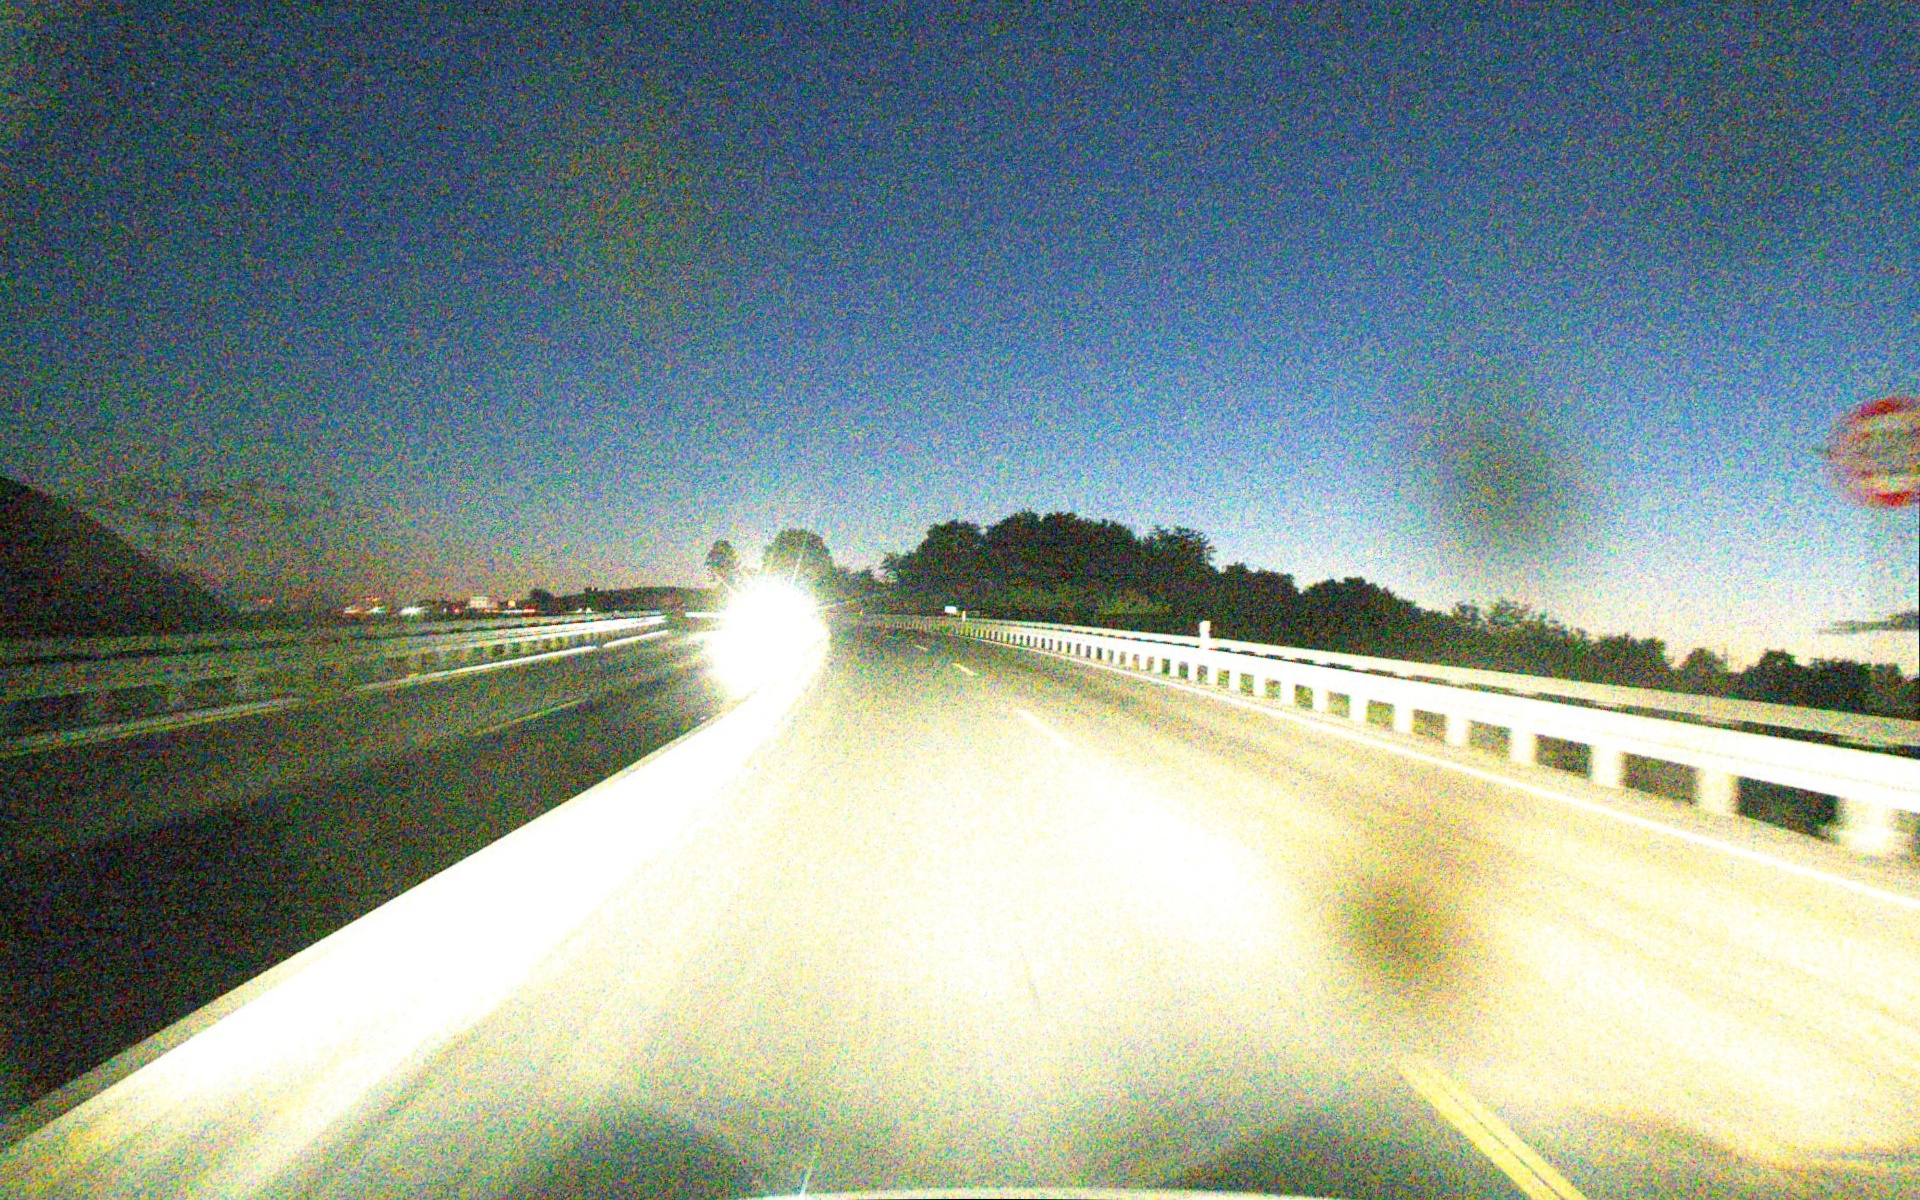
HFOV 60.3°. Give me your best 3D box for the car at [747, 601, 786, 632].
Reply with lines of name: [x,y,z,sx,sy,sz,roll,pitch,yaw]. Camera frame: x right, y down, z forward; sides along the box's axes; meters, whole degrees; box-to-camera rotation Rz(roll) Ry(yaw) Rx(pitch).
car: [-9.687,0.847,82.610,1.785,1.542,4.513,0,-1,-9]
